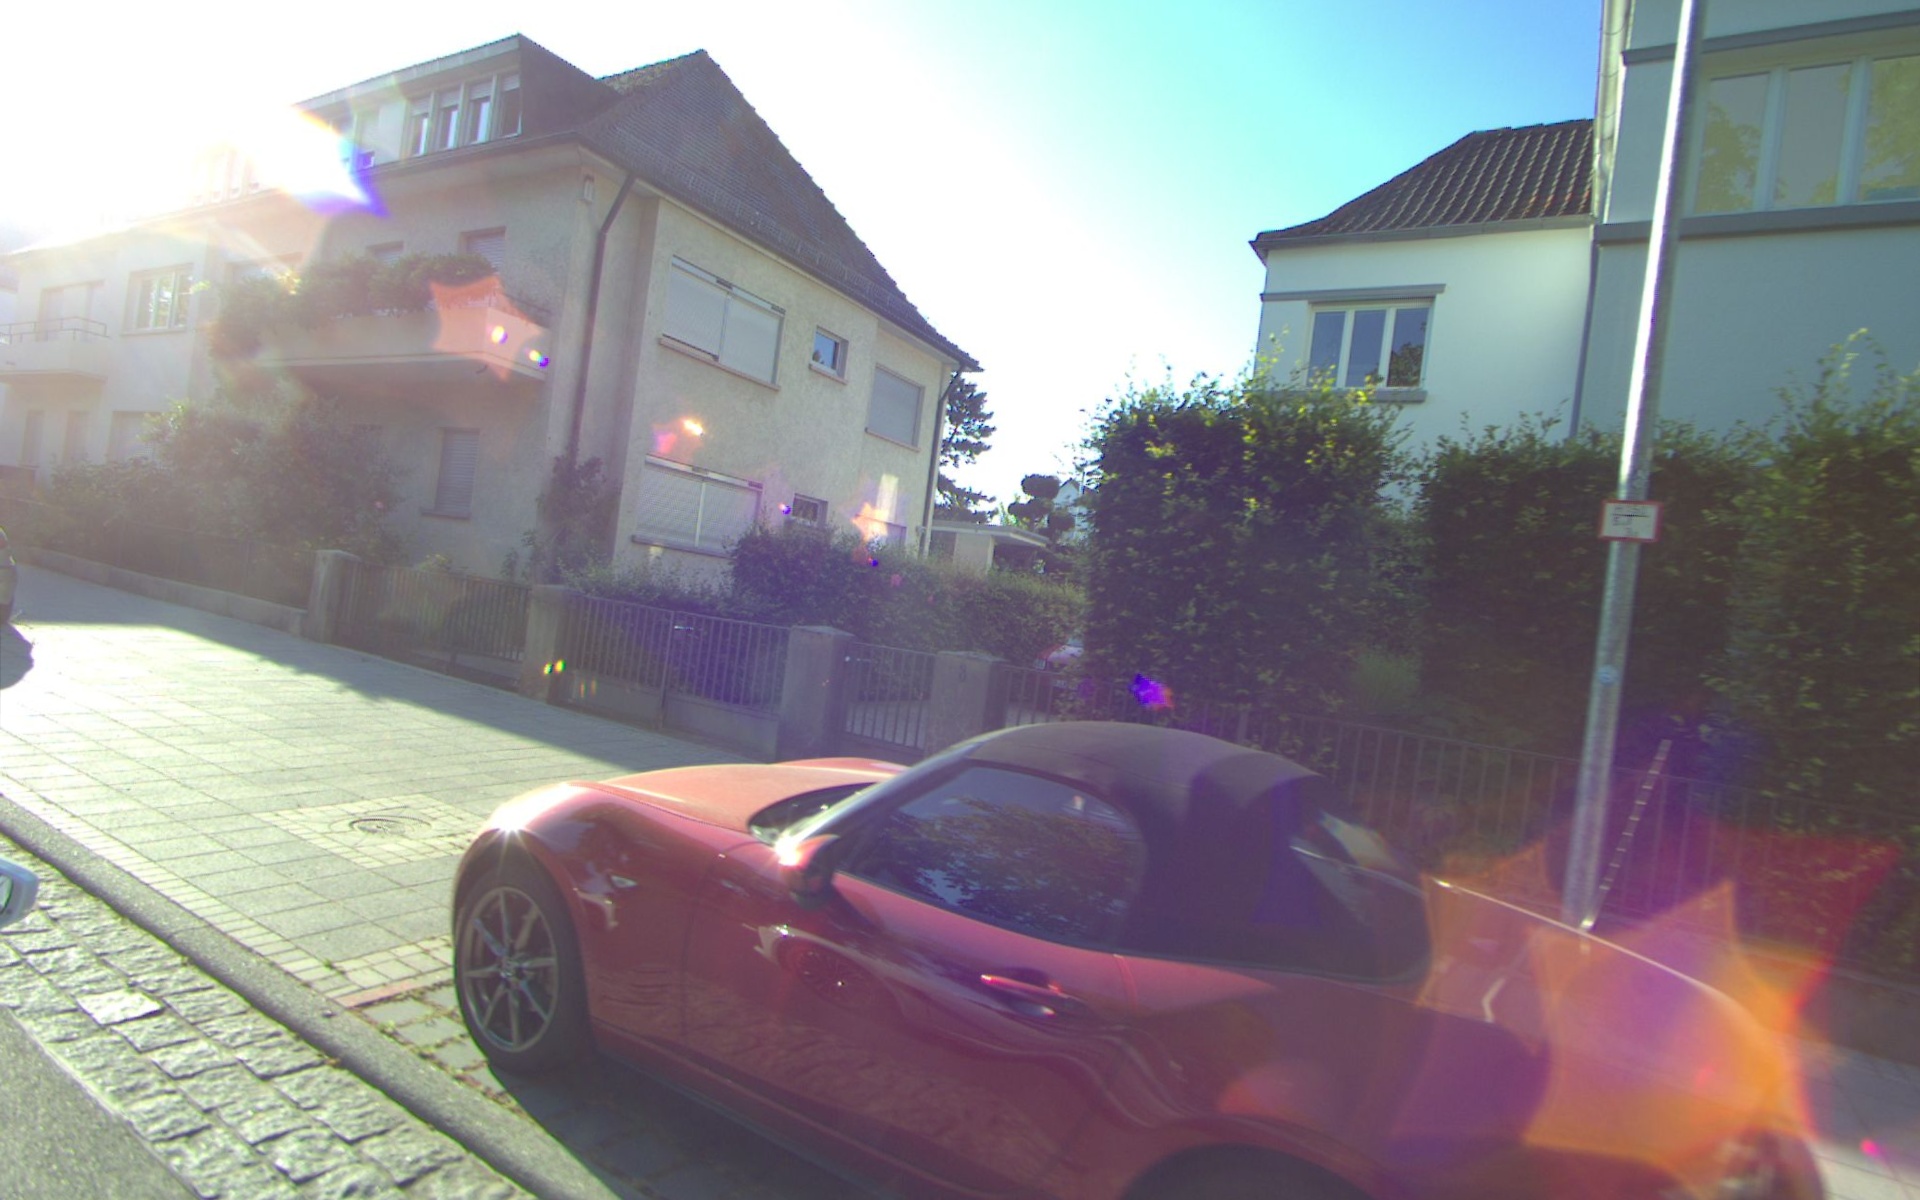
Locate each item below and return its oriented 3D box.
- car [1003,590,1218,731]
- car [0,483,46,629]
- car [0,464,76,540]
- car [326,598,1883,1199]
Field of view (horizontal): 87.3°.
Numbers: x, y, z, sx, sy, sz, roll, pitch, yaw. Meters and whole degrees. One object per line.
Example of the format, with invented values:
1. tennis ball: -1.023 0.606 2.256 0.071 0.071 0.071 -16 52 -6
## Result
1. car: 2.597 1.061 16.571 1.754 1.836 3.844 7 -3 36
2. car: -11.351 -0.682 10.353 4.010 1.398 1.795 8 1 32
3. car: -27.958 -3.049 28.385 1.783 1.865 3.997 9 -2 26
4. car: -0.009 0.883 3.093 3.815 1.272 1.701 7 -1 32
